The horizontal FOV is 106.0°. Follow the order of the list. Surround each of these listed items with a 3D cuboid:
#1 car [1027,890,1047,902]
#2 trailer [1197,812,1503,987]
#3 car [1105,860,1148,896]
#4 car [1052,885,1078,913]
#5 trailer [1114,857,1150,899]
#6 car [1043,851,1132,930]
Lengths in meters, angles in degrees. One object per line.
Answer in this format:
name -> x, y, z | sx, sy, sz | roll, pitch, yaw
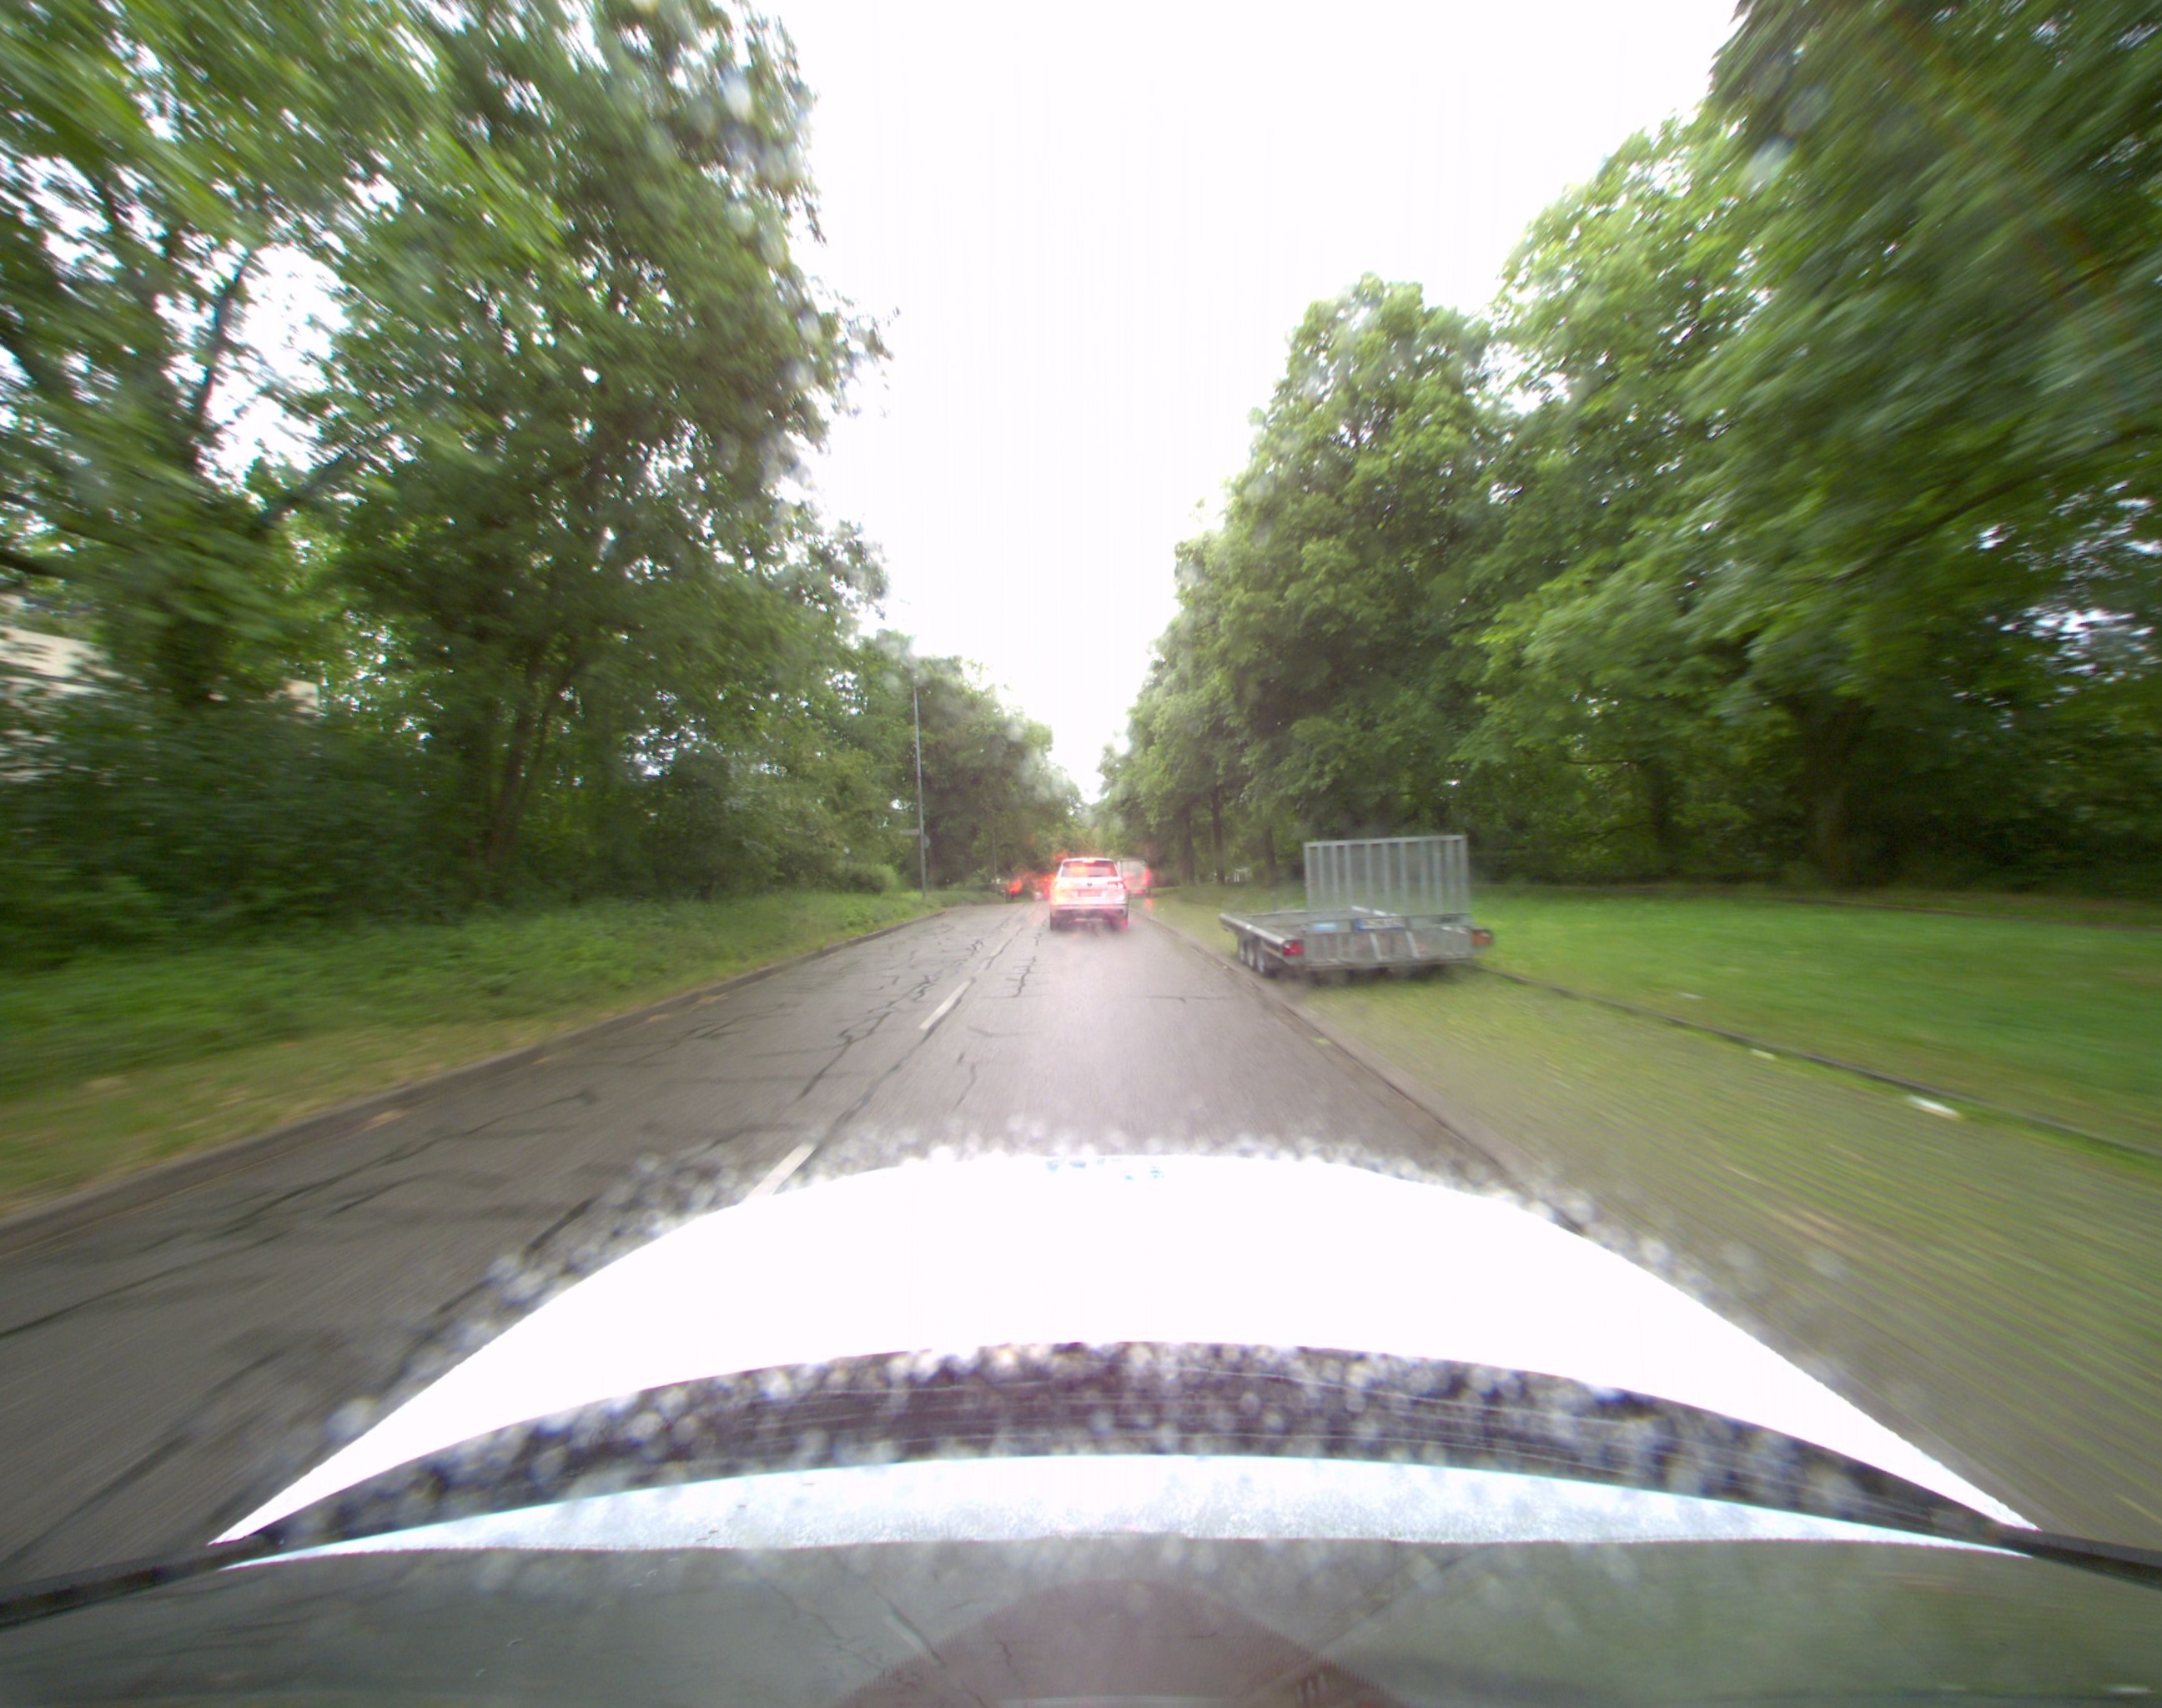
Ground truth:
car -> -6.270, 5.955, 116.288 | 1.981, 1.599, 4.020 | -2, -3, 10
trailer -> 3.360, 0.553, 11.864 | 2.442, 1.813, 5.890 | -3, -1, 0
car -> 2.609, 1.476, 48.382 | 1.989, 1.910, 5.503 | -2, -3, -2
car -> -1.495, 3.958, 72.597 | 1.990, 2.013, 3.994 | -2, 2, -5
trailer -> 2.699, 1.289, 43.578 | 1.525, 2.076, 3.997 | -3, -2, -1
car -> 0.185, 0.837, 20.133 | 1.898, 1.685, 4.201 | -2, -1, 1
